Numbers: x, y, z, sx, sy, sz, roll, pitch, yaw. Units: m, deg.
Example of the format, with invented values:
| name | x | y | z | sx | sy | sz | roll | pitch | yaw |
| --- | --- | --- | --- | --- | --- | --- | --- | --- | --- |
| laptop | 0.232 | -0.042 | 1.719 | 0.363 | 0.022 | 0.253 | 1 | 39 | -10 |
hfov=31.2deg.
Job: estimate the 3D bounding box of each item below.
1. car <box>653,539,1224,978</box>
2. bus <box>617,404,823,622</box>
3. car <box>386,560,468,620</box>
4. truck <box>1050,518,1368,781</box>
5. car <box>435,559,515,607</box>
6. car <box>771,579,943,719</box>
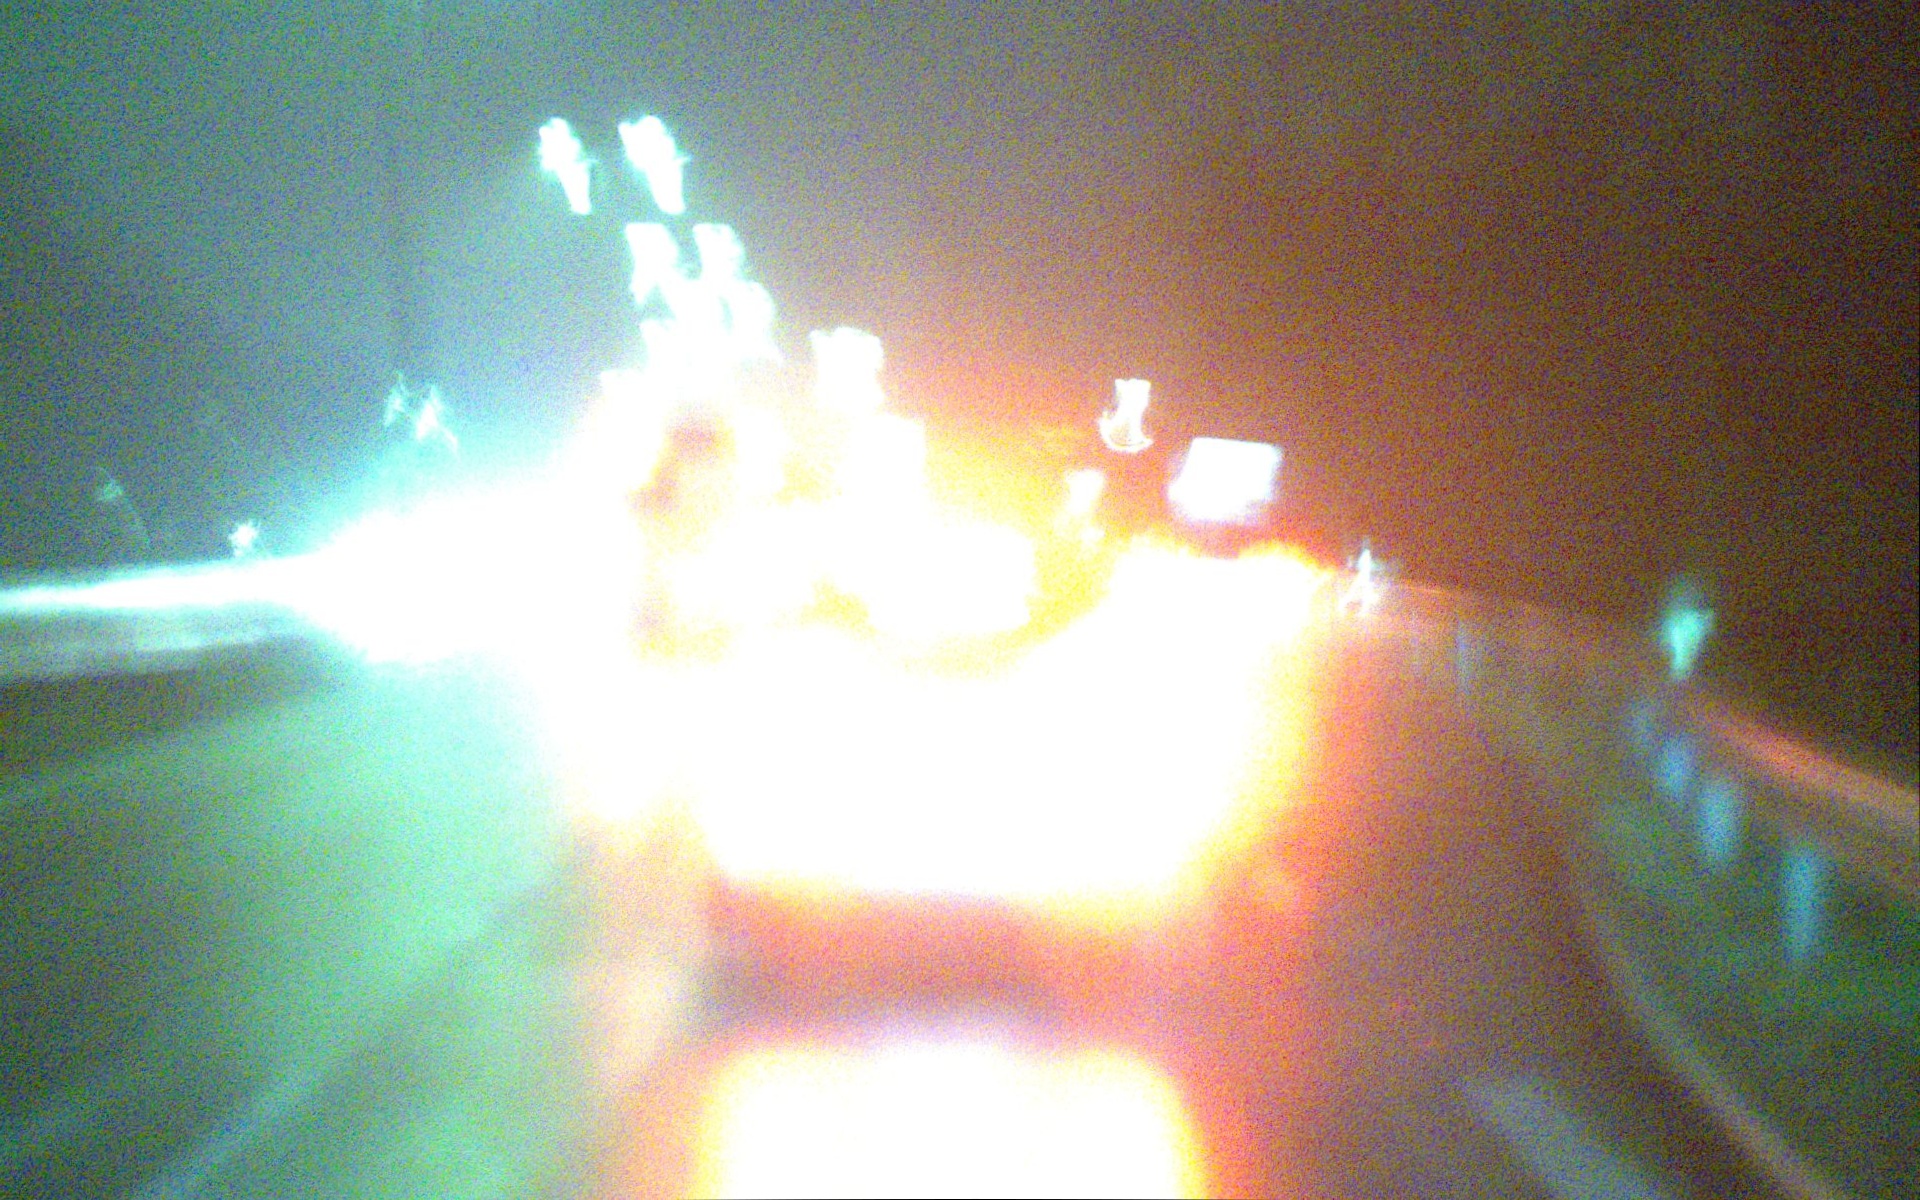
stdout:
| name | x | y | z | sx | sy | sz | roll | pitch | yaw |
| --- | --- | --- | --- | --- | --- | --- | --- | --- | --- |
| car | 0.011 | 0.516 | 13.584 | 1.944 | 1.486 | 3.716 | 0 | 1 | 3 |
| bus | -3.690 | -1.382 | 54.796 | 2.743 | 3.112 | 9.202 | 1 | 1 | -1 |
| car | -14.368 | -0.259 | 92.865 | 1.600 | 1.546 | 3.834 | 1 | 0 | 0 |
| truck | 2.751 | 0.498 | 37.545 | 3.070 | 2.520 | 7.165 | 1 | 0 | 5 |
| car | -16.164 | -0.554 | 114.836 | 2.023 | 1.497 | 4.897 | 1 | 0 | -1 |
| car | -1.106 | 0.508 | 38.361 | 1.822 | 1.456 | 3.716 | 0 | 1 | 0 |
